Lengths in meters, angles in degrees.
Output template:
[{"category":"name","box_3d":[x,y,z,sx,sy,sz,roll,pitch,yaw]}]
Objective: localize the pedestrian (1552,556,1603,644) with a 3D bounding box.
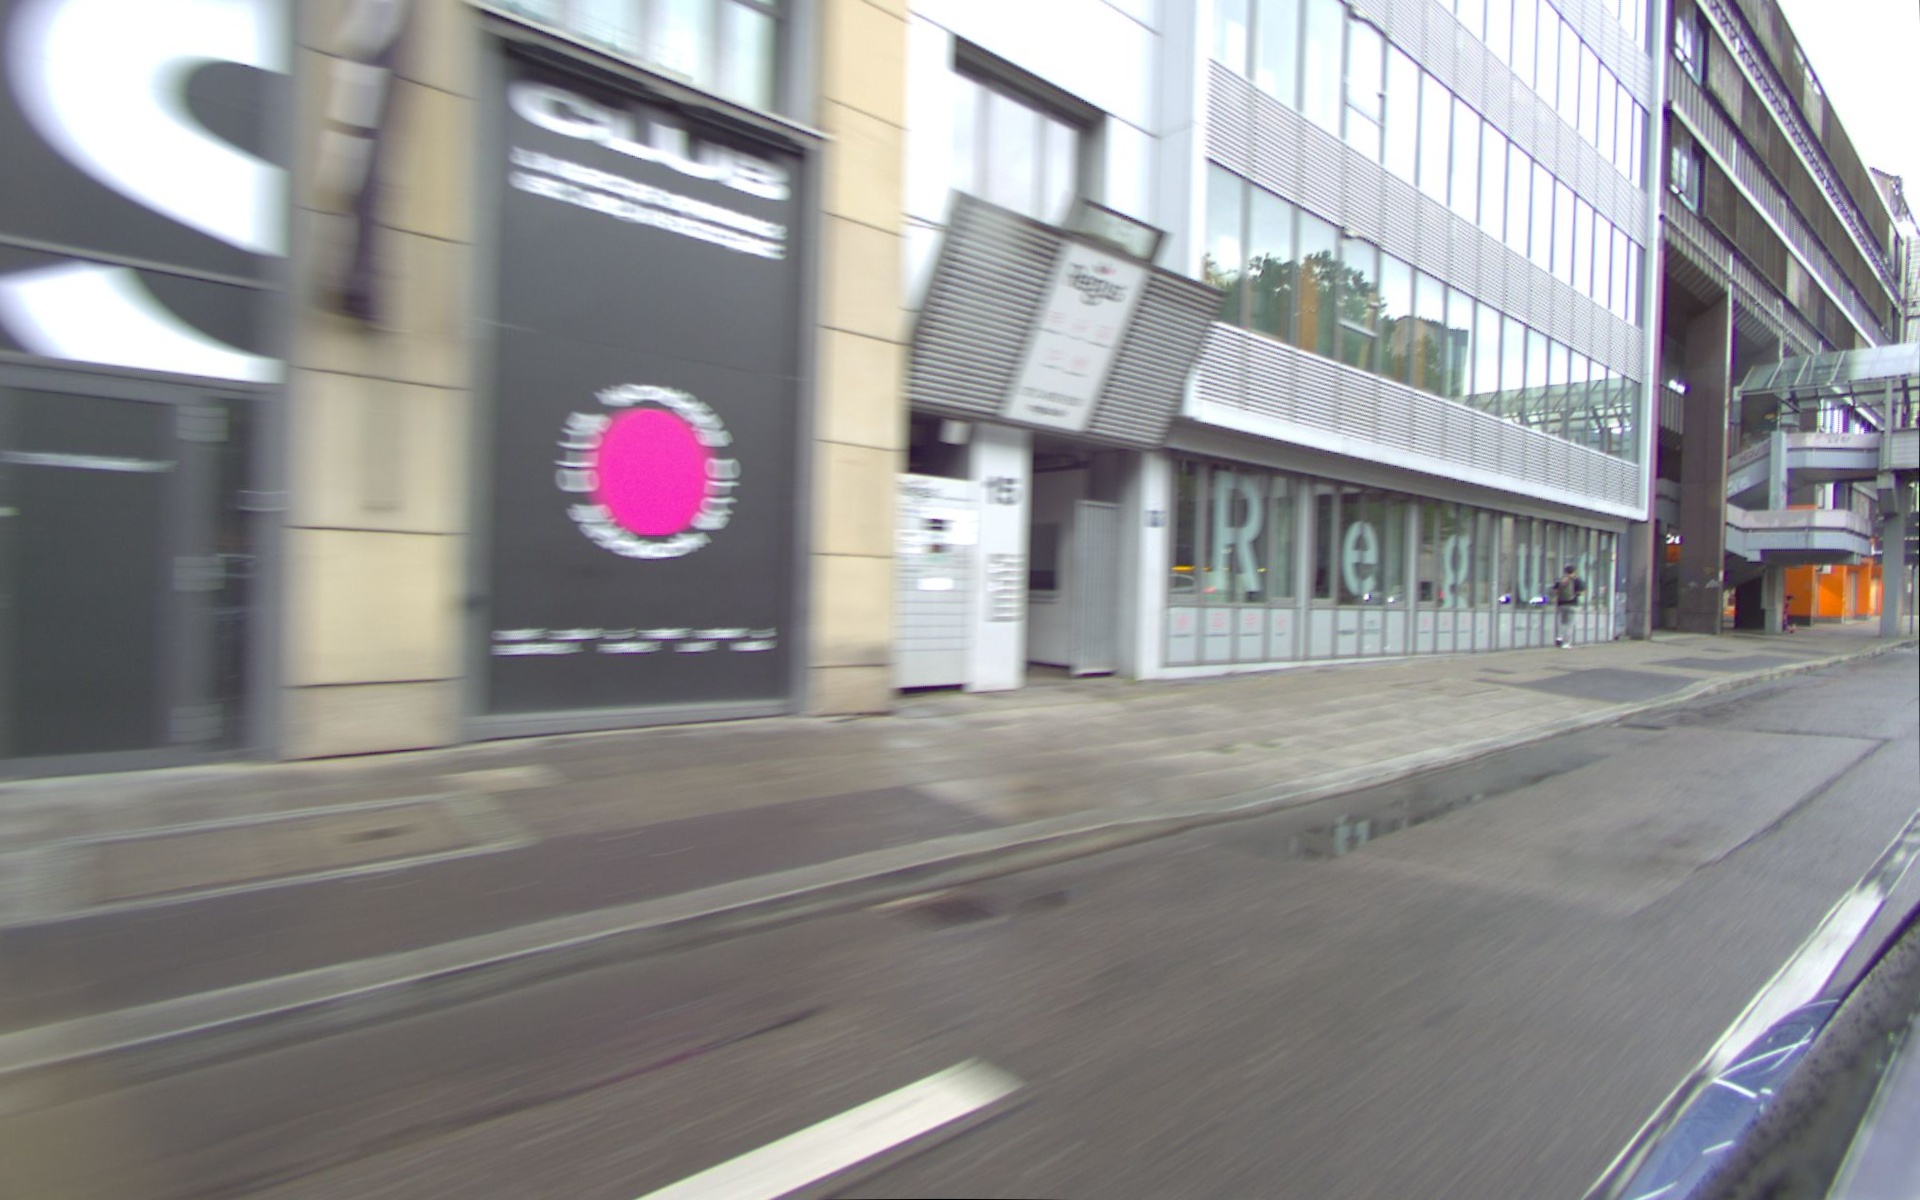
[{"category":"pedestrian","box_3d":[13.404,-0.007,21.964,0.751,1.855,0.728,0,0,-41]}]

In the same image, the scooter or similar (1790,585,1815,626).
[{"category":"scooter or similar","box_3d":[27.410,0.163,32.932,0.469,1.289,1.292,1,1,32]}]
